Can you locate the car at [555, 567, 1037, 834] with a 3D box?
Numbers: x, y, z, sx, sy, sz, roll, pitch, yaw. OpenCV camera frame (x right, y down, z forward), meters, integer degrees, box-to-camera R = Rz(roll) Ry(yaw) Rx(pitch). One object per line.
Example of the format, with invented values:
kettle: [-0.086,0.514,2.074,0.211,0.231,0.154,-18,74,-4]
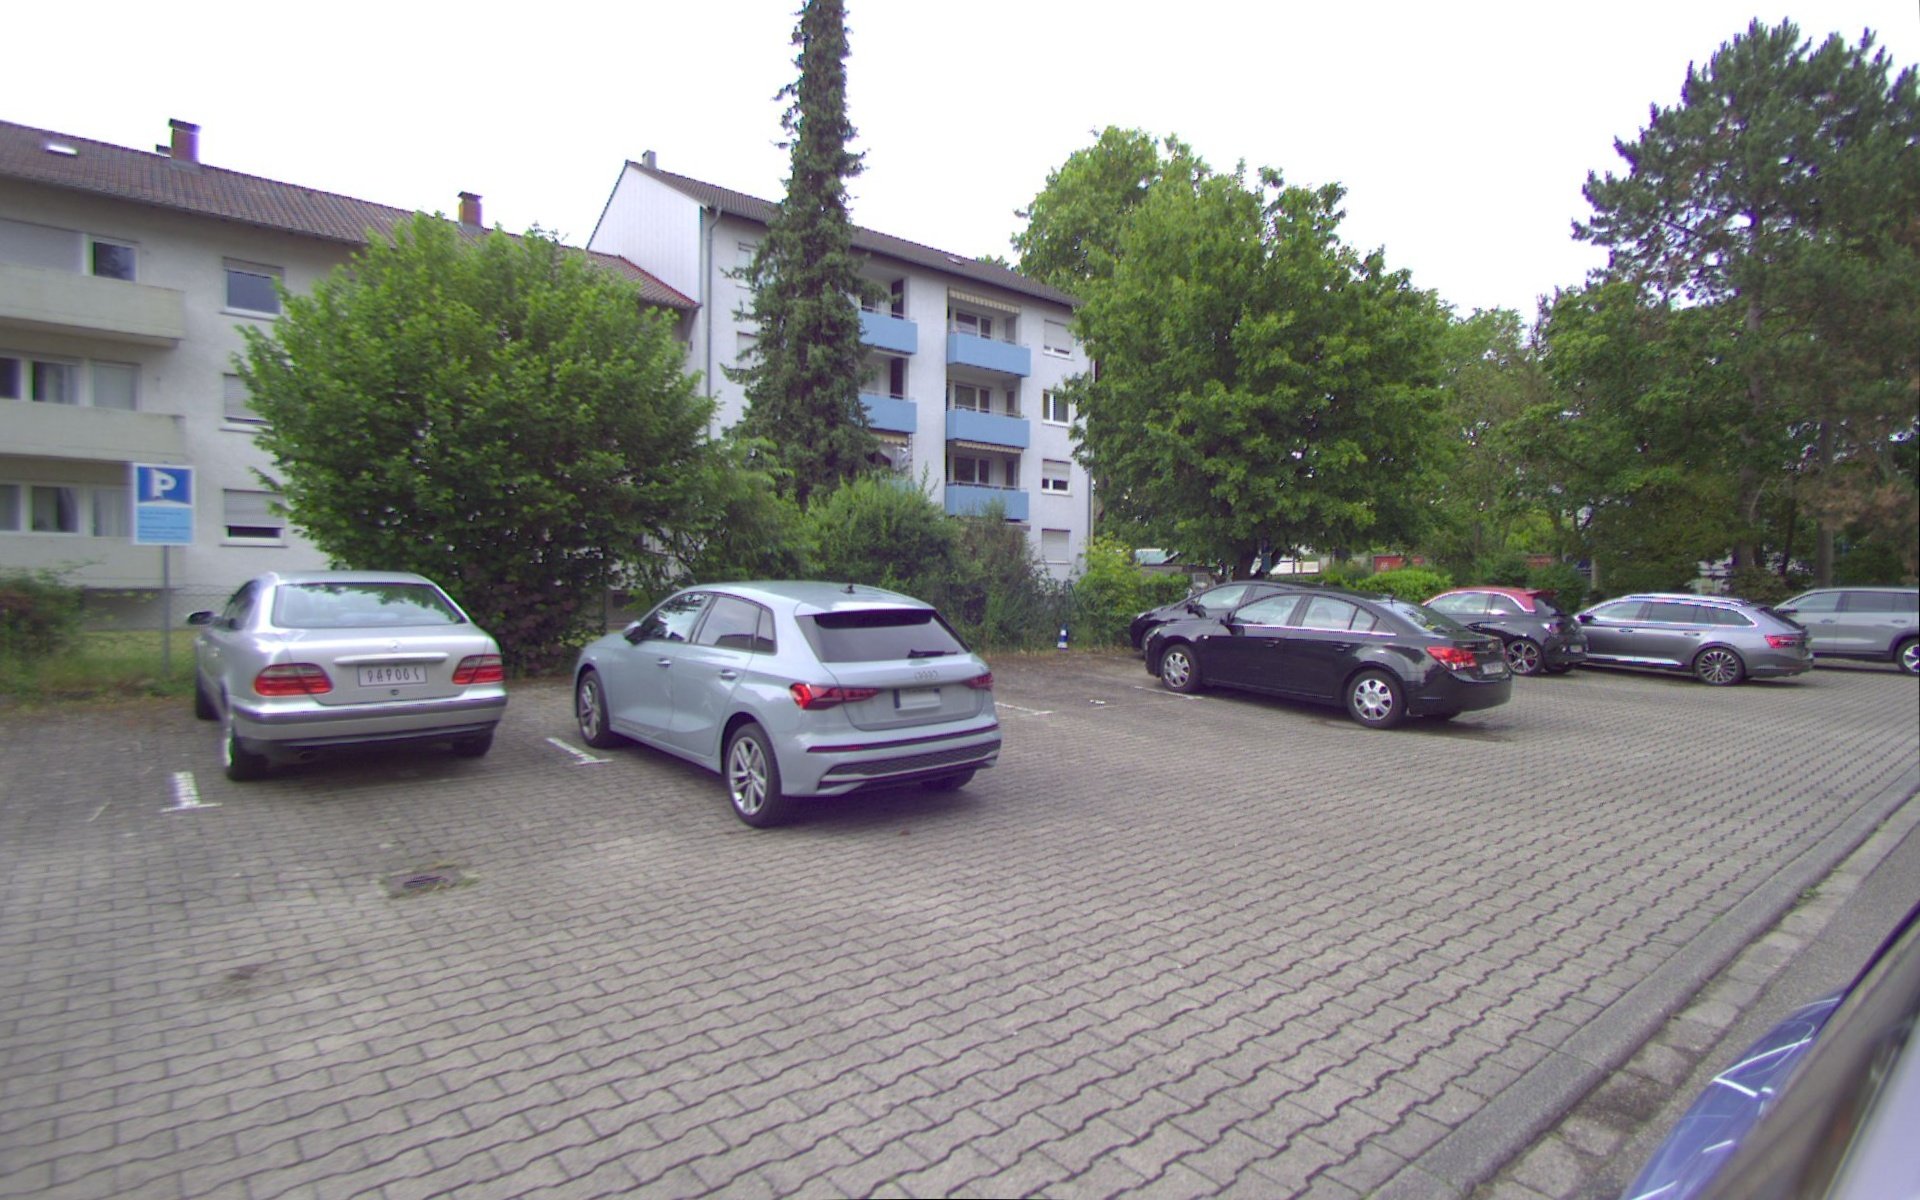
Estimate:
car: [-1.454,0.505,7.640,1.702,1.452,3.971,0,2,-42]

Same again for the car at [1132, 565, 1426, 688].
car: [4.896,0.307,16.017,1.756,1.503,4.105,0,4,-40]

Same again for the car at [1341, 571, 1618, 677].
car: [9.383,0.338,18.558,1.756,1.503,4.105,0,4,-40]

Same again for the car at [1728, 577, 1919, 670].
car: [17.943,0.423,20.019,1.756,1.666,4.101,0,2,-41]

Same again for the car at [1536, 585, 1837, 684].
car: [12.957,0.516,18.252,1.756,1.503,4.101,0,2,-41]

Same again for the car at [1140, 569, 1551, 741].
car: [4.465,0.497,12.330,1.756,1.503,4.336,0,4,-40]

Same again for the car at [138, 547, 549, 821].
car: [-5.099,0.386,8.039,1.992,1.401,4.400,0,4,-42]
